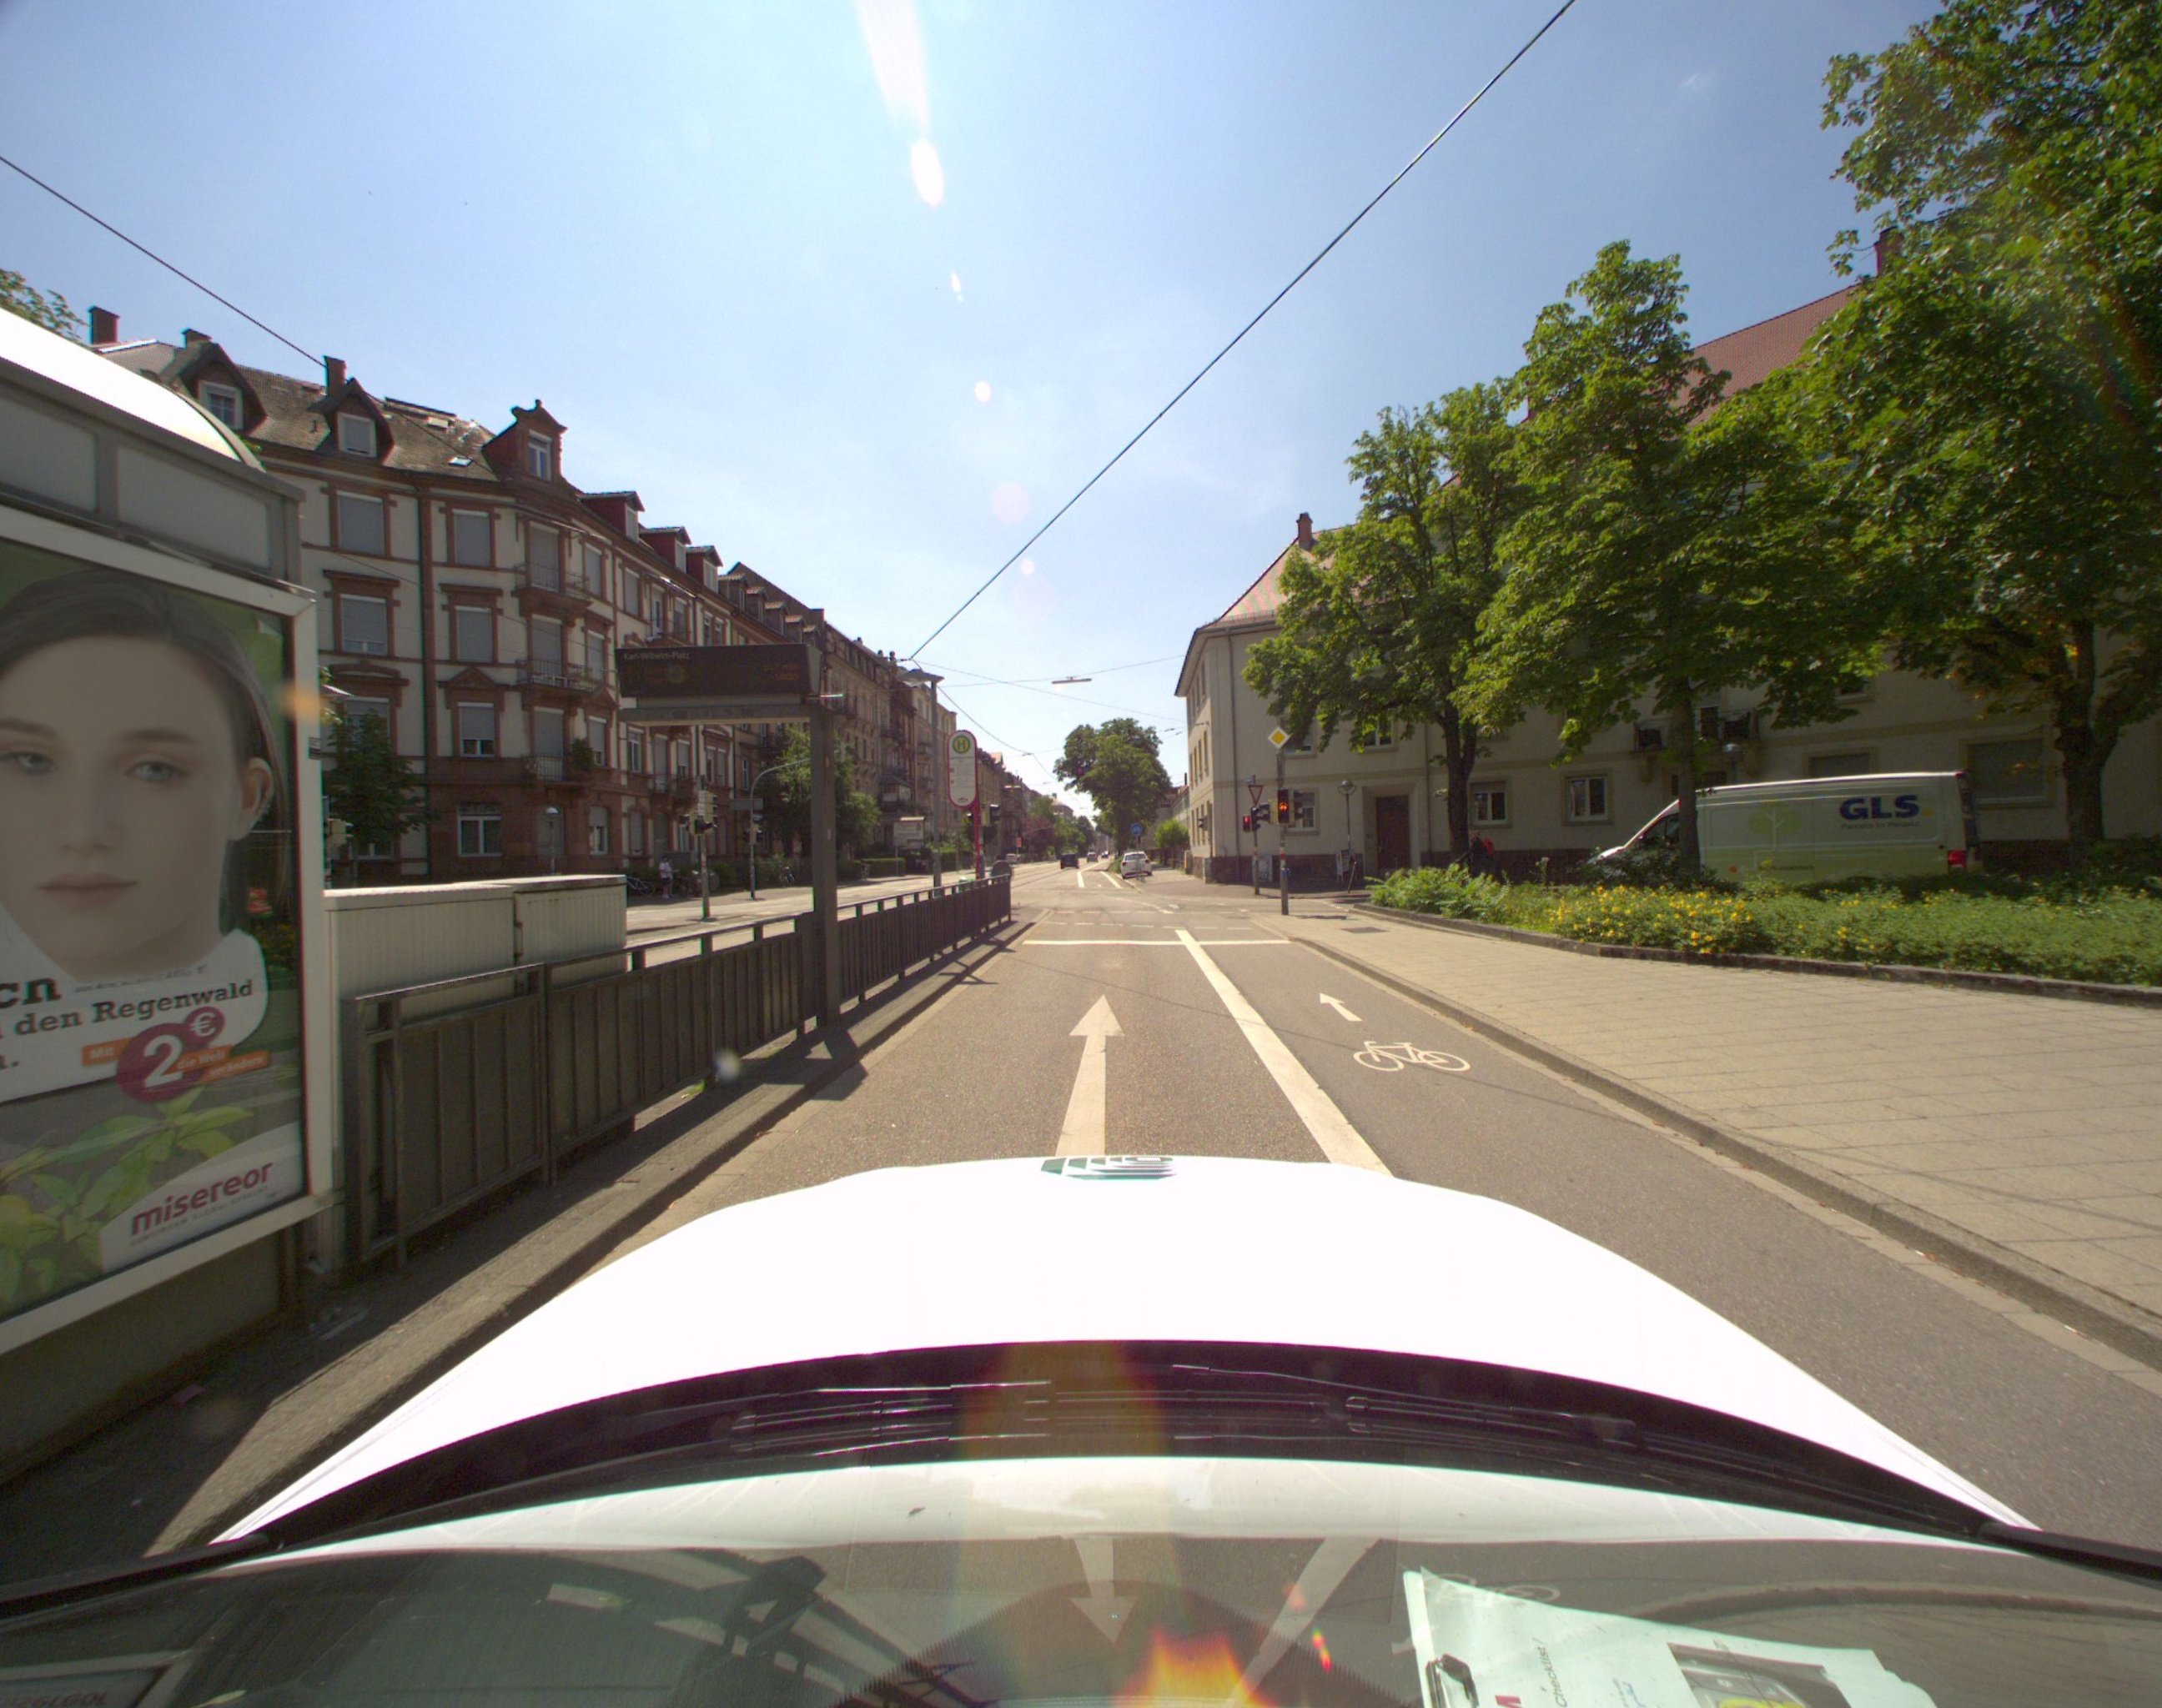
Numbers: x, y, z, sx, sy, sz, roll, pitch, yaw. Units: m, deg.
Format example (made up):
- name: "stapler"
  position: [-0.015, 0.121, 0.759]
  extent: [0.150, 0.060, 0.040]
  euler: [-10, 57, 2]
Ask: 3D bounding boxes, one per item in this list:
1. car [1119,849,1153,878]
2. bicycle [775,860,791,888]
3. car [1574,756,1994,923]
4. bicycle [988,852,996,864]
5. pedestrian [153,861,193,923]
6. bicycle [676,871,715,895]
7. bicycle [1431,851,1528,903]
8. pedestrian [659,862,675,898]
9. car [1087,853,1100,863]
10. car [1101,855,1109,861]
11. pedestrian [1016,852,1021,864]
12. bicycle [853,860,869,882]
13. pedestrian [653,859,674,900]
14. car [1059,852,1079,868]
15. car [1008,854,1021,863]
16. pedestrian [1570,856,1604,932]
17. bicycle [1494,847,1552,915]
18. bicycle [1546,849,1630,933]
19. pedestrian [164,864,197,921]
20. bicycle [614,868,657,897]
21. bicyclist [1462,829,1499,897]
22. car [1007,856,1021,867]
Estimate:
- name: "car"
  position: [3.160, 0.522, 47.279]
  extent: [1.741, 1.472, 3.940]
  euler: [-5, -1, 2]
- name: "bicycle"
  position: [-15.095, 0.998, 41.184]
  extent: [0.617, 1.395, 2.289]
  euler: [-1, -1, -24]
- name: "car"
  position: [13.038, -0.193, 15.616]
  extent: [2.009, 2.590, 5.785]
  euler: [0, -1, -37]
- name: "bicycle"
  position: [-10.799, 0.471, 98.637]
  extent: [0.575, 1.388, 2.502]
  euler: [-1, 0, 2]
- name: "pedestrian"
  position: [-27.368, 1.143, 24.557]
  extent: [0.564, 1.825, 0.631]
  euler: [-1, -1, -20]
- name: "bicycle"
  position: [-16.169, 1.206, 34.136]
  extent: [1.410, 1.013, 0.384]
  euler: [2, -2, -38]
- name: "bicycle"
  position: [9.829, 0.558, 20.112]
  extent: [2.060, 1.236, 0.584]
  euler: [-1, -1, 35]
- name: "pedestrian"
  position: [-17.346, 1.079, 34.092]
  extent: [0.510, 1.516, 0.464]
  euler: [0, -1, -40]
- name: "car"
  position: [1.965, 0.617, 123.894]
  extent: [1.741, 1.472, 3.940]
  euler: [-5, -1, 2]
- name: "car"
  position: [6.146, 1.001, 208.982]
  extent: [1.623, 1.472, 3.563]
  euler: [-5, -1, 0]
- name: "pedestrian"
  position: [-9.167, 0.643, 119.254]
  extent: [0.675, 1.727, 0.678]
  euler: [-1, -1, 2]
- name: "bicycle"
  position: [-13.799, 1.067, 51.024]
  extent: [0.594, 1.356, 2.421]
  euler: [-1, -1, -24]
- name: "pedestrian"
  position: [-17.085, 1.025, 33.312]
  extent: [0.657, 1.615, 0.464]
  euler: [0, 2, -40]
- name: "car"
  position: [-1.122, 0.583, 77.269]
  extent: [1.518, 1.444, 3.367]
  euler: [-3, -1, 3]
- name: "car"
  position: [-10.997, 0.752, 134.757]
  extent: [1.623, 1.472, 3.563]
  euler: [-5, -1, 0]
- name: "pedestrian"
  position: [8.720, 0.686, 14.040]
  extent: [0.365, 1.284, 0.350]
  euler: [-1, -1, 2]
- name: "bicycle"
  position: [7.728, 0.470, 14.296]
  extent: [0.331, 1.127, 1.288]
  euler: [-1, -2, 2]
- name: "bicycle"
  position: [8.731, 0.610, 14.096]
  extent: [0.351, 1.360, 1.836]
  euler: [-1, -1, 2]
- name: "pedestrian"
  position: [-28.179, 1.189, 25.494]
  extent: [0.508, 1.768, 0.525]
  euler: [-1, -1, -20]
- name: "bicycle"
  position: [-18.827, 1.195, 34.425]
  extent: [1.527, 1.169, 0.360]
  euler: [-1, 1, -41]
- name: "bicyclist"
  position: [9.858, 0.222, 20.090]
  extent: [0.687, 1.646, 0.584]
  euler: [-1, -1, 36]
- name: "car"
  position: [-10.405, 1.152, 126.133]
  extent: [1.679, 1.472, 3.938]
  euler: [-5, -1, 0]
